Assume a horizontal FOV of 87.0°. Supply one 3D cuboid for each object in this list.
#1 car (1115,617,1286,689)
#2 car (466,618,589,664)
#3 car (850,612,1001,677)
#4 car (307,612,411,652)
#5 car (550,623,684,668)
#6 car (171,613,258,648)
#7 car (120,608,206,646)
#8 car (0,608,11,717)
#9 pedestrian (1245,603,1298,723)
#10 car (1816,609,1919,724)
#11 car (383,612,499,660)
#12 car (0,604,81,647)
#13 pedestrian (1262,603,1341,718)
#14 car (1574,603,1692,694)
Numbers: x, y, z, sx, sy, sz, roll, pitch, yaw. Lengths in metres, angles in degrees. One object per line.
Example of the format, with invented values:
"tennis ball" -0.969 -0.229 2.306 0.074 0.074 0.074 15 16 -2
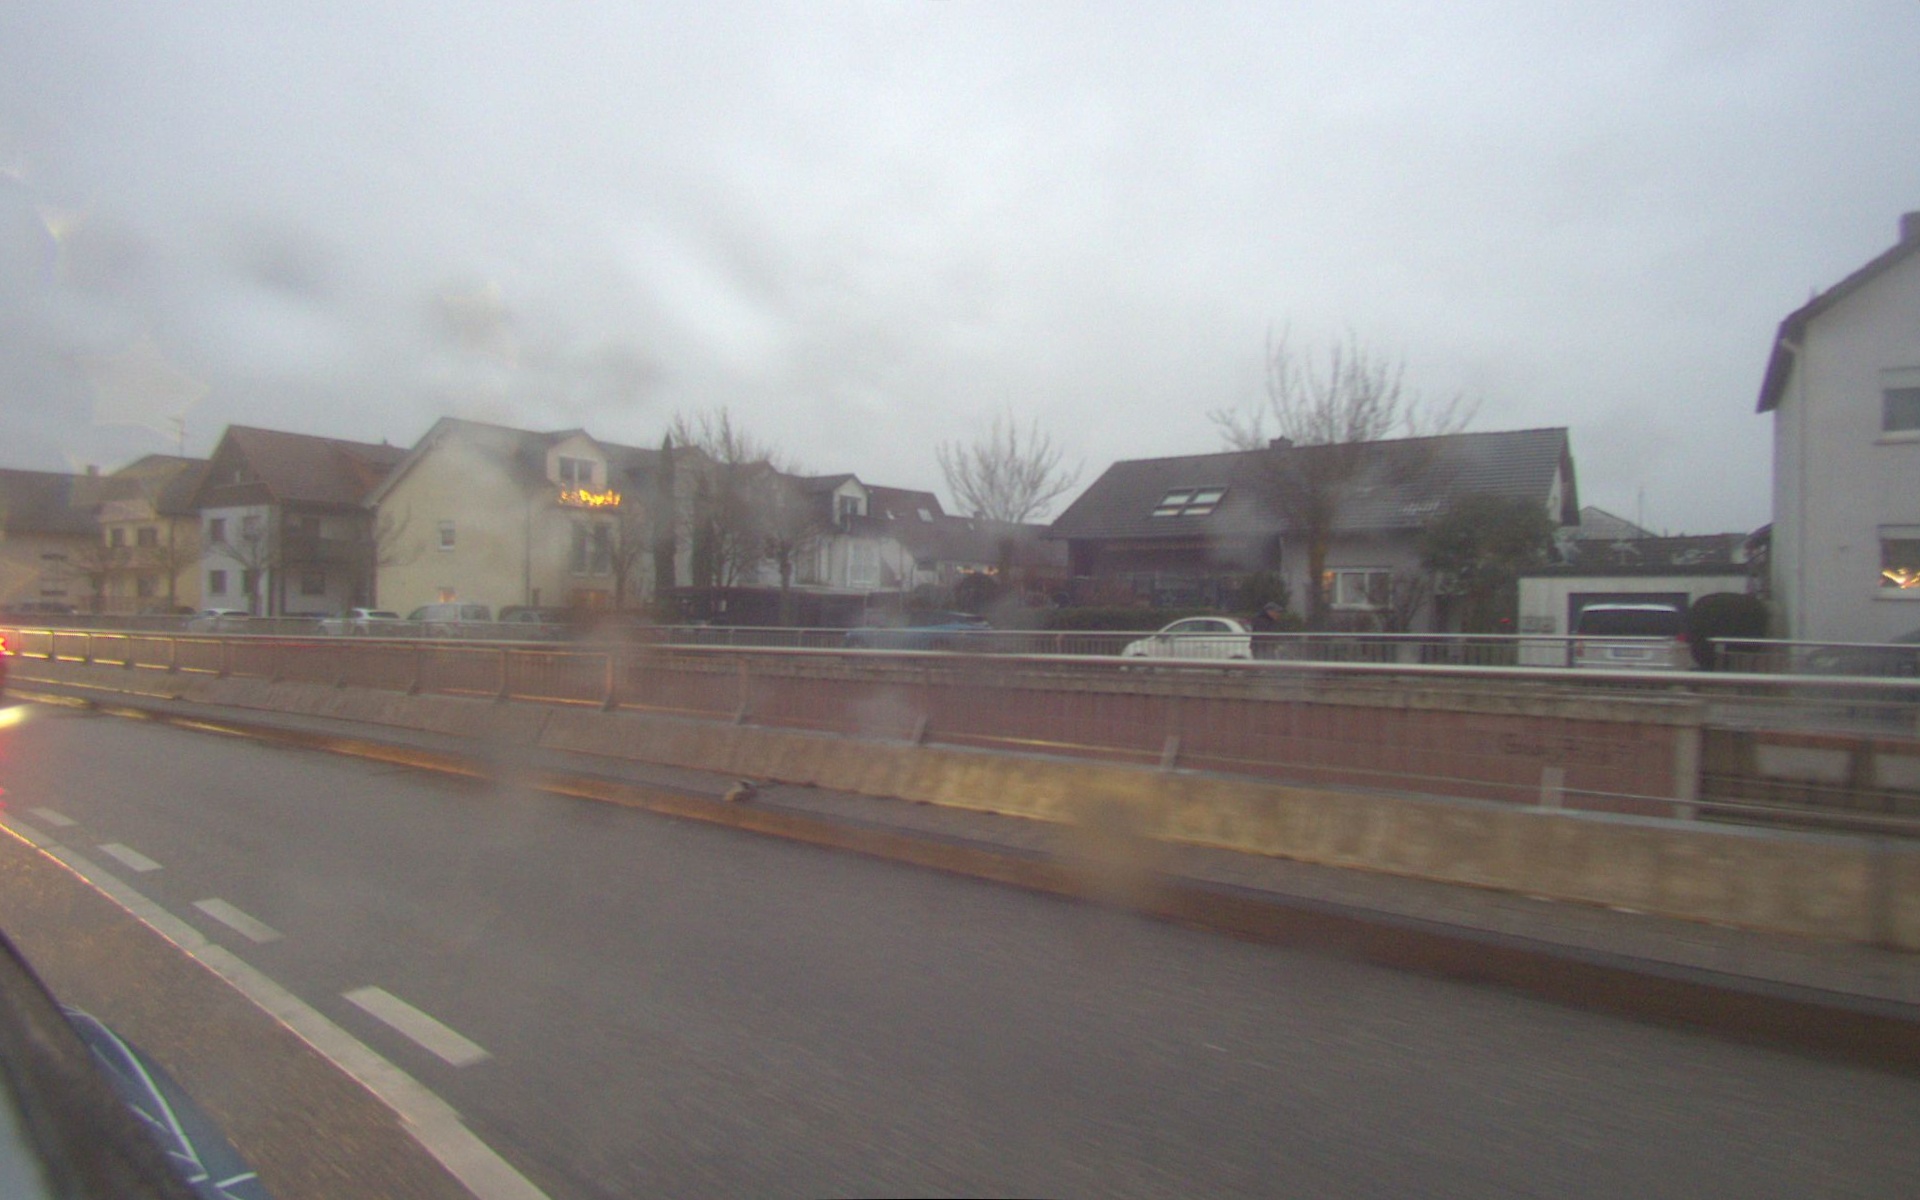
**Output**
"car" 5.364 1.131 22.705 3.452 1.438 1.469 0 -1 36
"car" -15.841 1.501 37.032 4.485 1.584 1.860 -1 -3 31
"car" -0.950 1.167 27.219 3.807 1.592 1.553 0 -2 31
"car" -25.259 1.370 42.511 4.207 1.610 1.861 -1 -3 29
"car" -11.663 1.518 34.333 4.485 1.444 1.860 -1 -3 31
"car" -35.398 1.416 48.053 4.013 1.535 1.758 0 -1 28
"car" -39.159 1.301 49.742 3.981 1.694 1.847 0 2 28
"car" -16.709 0.968 16.103 3.994 1.666 1.721 -1 -2 38
"pedestrian" 4.571 0.901 14.844 0.540 1.710 0.657 -1 0 37
"car" 15.553 0.973 14.967 4.208 1.695 1.894 -1 -2 36
"car" -20.329 1.399 39.589 4.482 1.792 1.861 -1 -3 29
"car" -40.925 1.098 44.664 3.838 1.817 1.790 1 -1 24
"pedestrian" 5.611 0.964 16.632 0.972 1.798 0.919 -1 0 37
"car" 13.927 0.984 21.038 1.859 1.707 3.955 -1 -2 33
